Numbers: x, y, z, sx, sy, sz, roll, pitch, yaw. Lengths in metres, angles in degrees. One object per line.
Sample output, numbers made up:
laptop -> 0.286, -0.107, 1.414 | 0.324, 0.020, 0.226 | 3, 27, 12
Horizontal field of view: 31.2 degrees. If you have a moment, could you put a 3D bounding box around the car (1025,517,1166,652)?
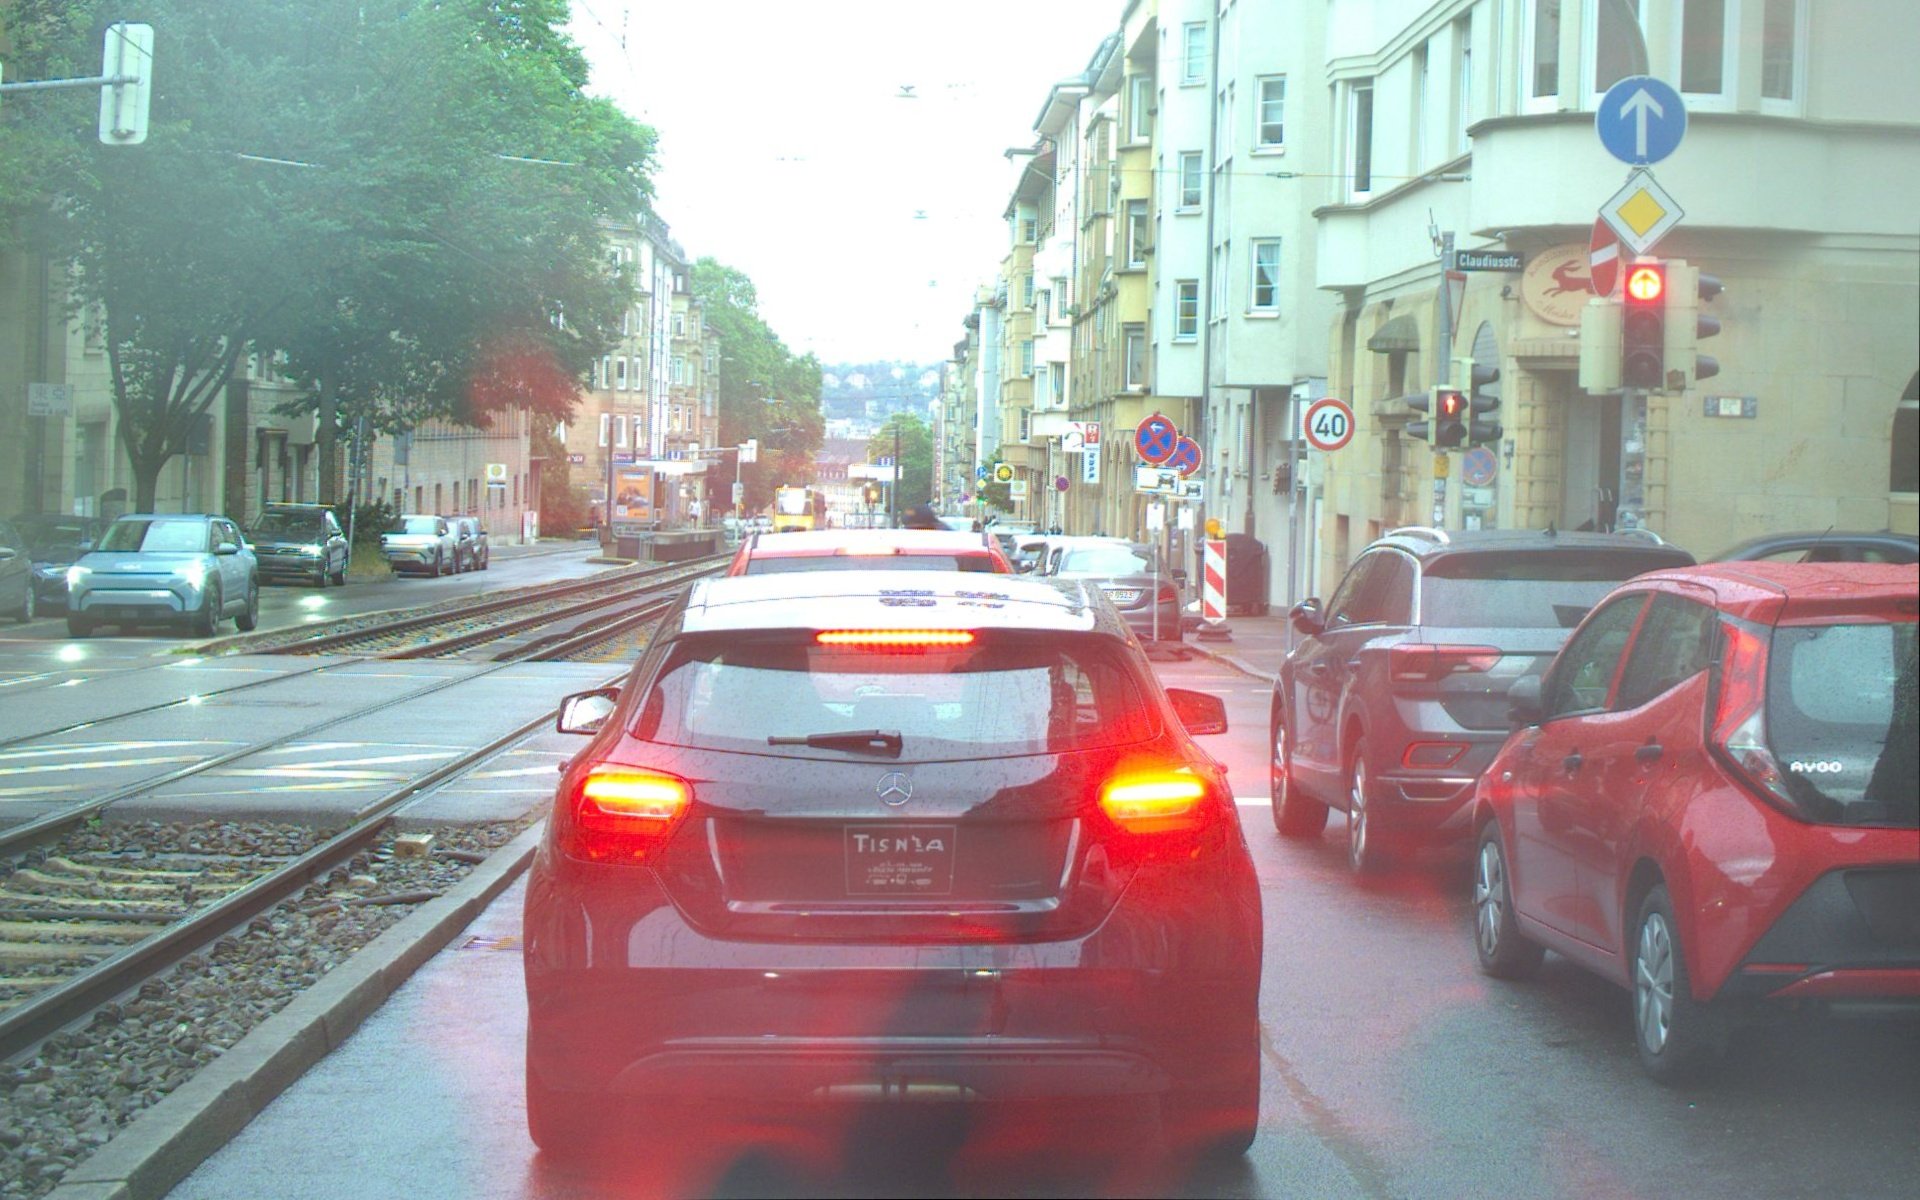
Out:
car -> 1.654, -0.218, 42.861 | 1.544, 1.585, 3.548 | 1, 1, -1

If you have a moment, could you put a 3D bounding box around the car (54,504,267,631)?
car -> -10.473, -0.426, 45.298 | 1.898, 1.582, 3.973 | 1, 0, -1

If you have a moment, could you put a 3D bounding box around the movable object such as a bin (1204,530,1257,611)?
movable object such as a bin -> 4.696, -0.512, 59.793 | 0.878, 1.384, 0.982 | 1, 0, 3

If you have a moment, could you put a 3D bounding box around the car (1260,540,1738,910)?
car -> 2.375, 0.481, 15.984 | 1.544, 1.481, 3.830 | 1, 1, -1

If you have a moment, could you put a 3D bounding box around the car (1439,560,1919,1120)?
car -> 2.639, 0.625, 10.746 | 1.642, 1.443, 3.299 | 1, 1, -3

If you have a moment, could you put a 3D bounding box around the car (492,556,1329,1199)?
car -> -0.137, 0.631, 9.677 | 1.829, 1.453, 4.104 | 1, 1, -1

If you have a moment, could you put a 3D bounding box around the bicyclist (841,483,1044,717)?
bicyclist -> -0.129, -0.001, 24.024 | 1.249, 1.592, 0.887 | 1, 0, -11

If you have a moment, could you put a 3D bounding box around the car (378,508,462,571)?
car -> -14.013, -1.559, 89.384 | 1.589, 1.575, 3.918 | 1, 0, -1

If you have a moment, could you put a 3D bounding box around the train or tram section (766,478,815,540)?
train or tram section -> -11.093, -5.941, 225.562 | 2.783, 3.847, 10.430 | 1, 0, -1

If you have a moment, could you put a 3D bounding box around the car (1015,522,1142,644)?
car -> 1.598, -0.255, 47.336 | 1.544, 1.585, 3.548 | 1, 1, -1

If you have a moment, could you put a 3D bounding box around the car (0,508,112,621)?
car -> -13.751, -0.533, 50.942 | 1.716, 1.605, 3.919 | 1, 0, -5

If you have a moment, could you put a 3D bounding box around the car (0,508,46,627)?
car -> -13.497, -0.444, 45.912 | 1.752, 1.547, 4.036 | 1, 0, -4

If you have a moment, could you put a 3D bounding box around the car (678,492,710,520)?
car -> -12.435, -4.401, 160.812 | 1.377, 1.245, 3.298 | 1, 0, -2

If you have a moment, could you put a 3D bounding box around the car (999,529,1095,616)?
car -> 1.538, -0.510, 61.745 | 1.544, 1.481, 3.548 | 1, 1, -1

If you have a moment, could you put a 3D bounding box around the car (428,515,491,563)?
car -> -14.357, -1.747, 98.793 | 1.448, 1.326, 3.272 | 1, 0, -2

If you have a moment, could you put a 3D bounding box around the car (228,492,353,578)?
car -> -13.974, -1.340, 71.921 | 1.875, 1.731, 3.918 | 1, 0, -1

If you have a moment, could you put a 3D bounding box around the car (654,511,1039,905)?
car -> -0.491, 0.428, 16.064 | 1.565, 1.604, 3.814 | 1, 0, -1

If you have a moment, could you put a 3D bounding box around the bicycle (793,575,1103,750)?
bicycle -> -0.094, 0.432, 24.041 | 2.030, 1.182, 0.827 | 1, 0, -11

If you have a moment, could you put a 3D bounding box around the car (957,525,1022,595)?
car -> 0.618, -0.869, 73.814 | 1.294, 1.437, 2.929 | 1, 1, -1

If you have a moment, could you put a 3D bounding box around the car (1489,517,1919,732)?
car -> 6.200, 0.181, 27.936 | 3.675, 1.630, 1.549 | 1, 1, 7

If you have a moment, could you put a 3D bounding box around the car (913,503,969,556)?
car -> -0.716, -2.547, 125.731 | 1.993, 1.870, 4.000 | 1, 0, -1
